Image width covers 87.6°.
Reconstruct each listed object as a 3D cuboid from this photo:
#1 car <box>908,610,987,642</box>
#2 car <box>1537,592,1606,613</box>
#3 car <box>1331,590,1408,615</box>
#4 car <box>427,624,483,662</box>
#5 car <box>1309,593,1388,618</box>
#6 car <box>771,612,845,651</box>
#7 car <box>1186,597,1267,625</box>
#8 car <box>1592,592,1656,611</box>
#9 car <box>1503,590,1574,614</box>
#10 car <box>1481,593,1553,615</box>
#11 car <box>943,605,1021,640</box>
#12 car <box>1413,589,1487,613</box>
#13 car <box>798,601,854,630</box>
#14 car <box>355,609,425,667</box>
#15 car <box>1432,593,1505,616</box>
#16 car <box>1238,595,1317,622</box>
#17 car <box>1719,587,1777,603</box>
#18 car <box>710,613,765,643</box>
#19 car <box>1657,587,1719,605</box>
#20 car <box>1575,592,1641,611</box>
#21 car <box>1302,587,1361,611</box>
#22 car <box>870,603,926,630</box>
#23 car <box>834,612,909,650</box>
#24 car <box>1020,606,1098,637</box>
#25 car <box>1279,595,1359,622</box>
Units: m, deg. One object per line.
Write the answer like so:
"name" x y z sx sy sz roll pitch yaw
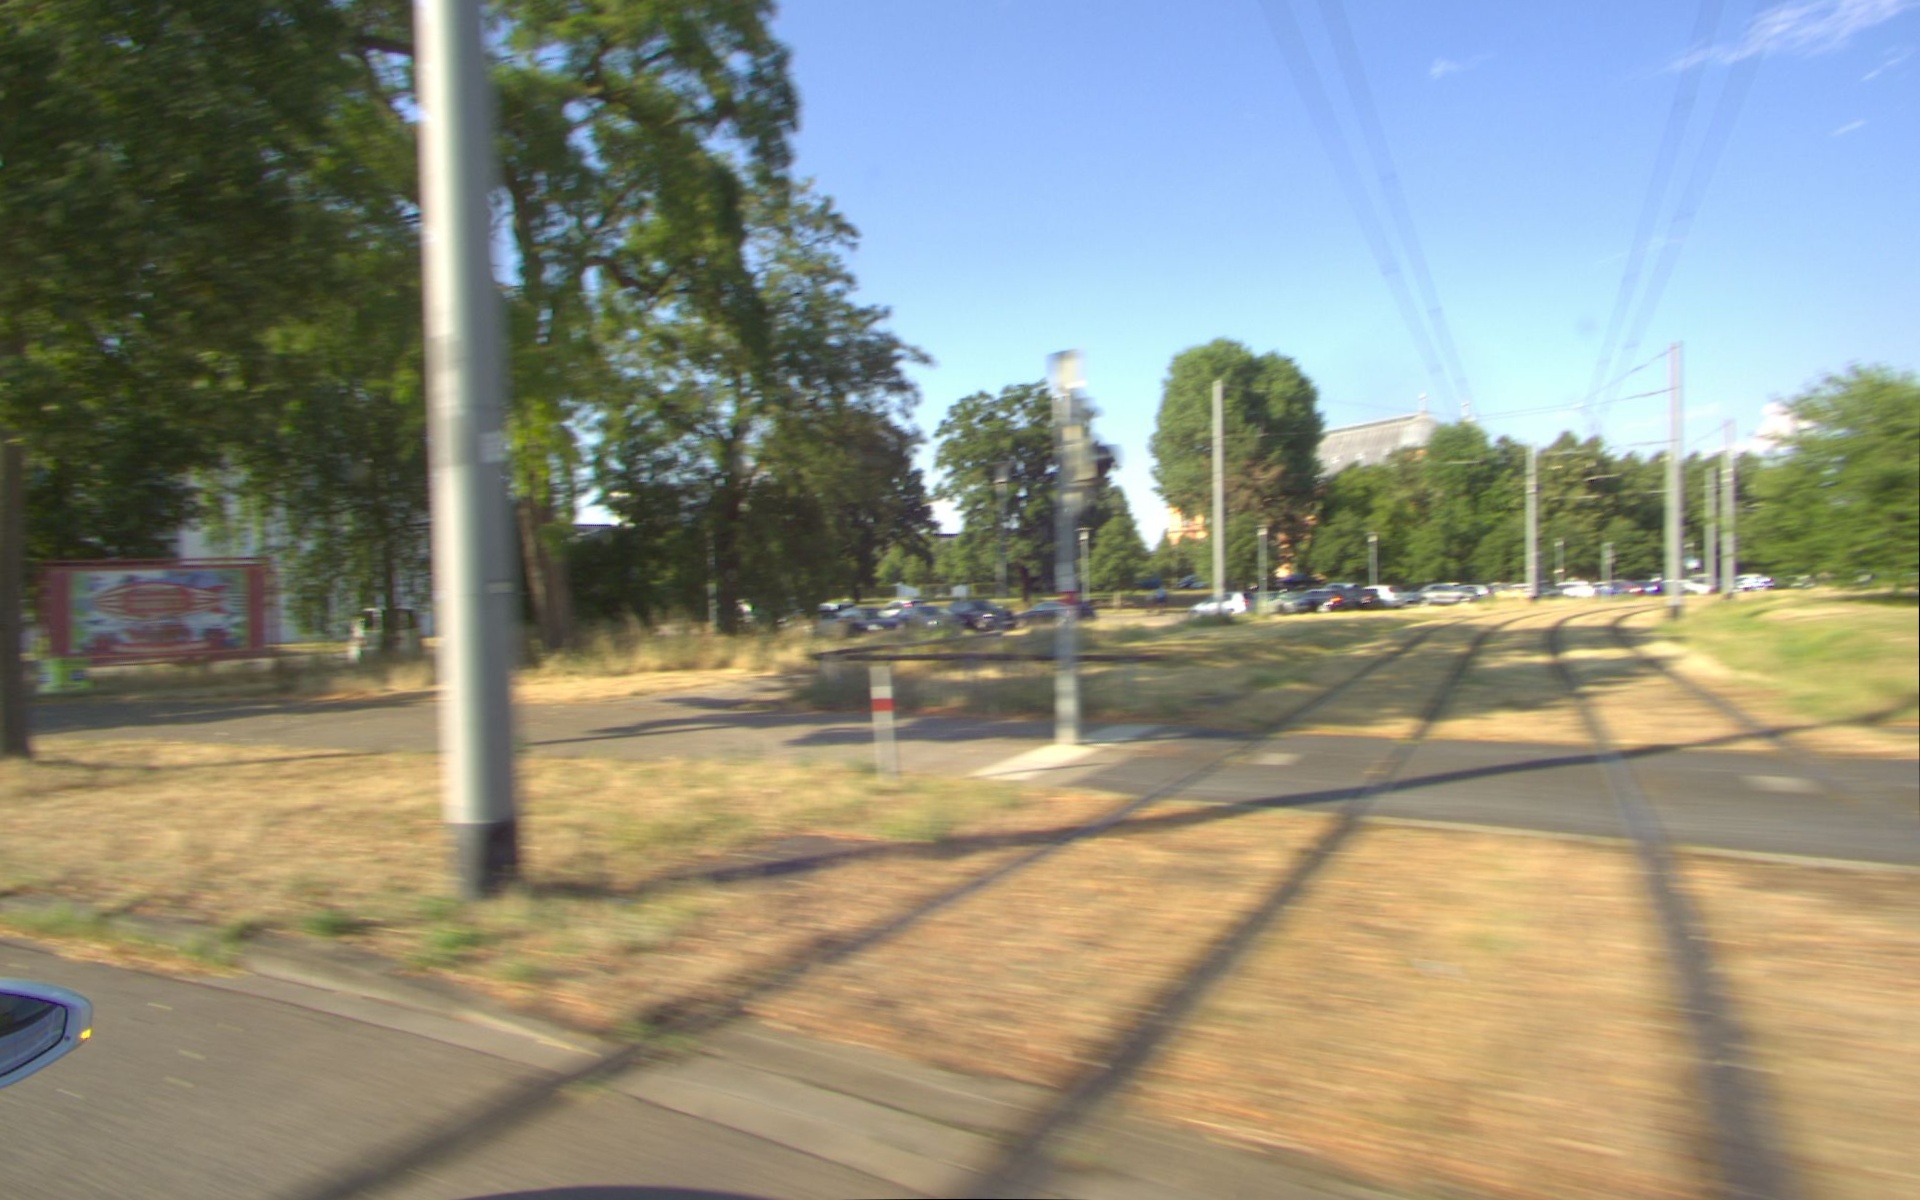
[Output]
"car" -0.579 1.078 41.595 1.583 1.237 3.949 -1 0 -29
"car" 45.204 0.217 74.104 1.803 1.421 3.975 -1 0 -34
"car" 24.778 0.157 60.720 1.803 1.421 3.975 -1 0 -34
"car" -17.752 1.469 35.128 1.583 1.196 3.949 -1 0 -29
"car" 22.794 0.338 58.860 1.803 1.421 3.975 -1 0 -34
"car" -6.091 1.234 39.788 1.583 1.420 3.949 -1 0 -29
"car" 14.206 0.619 53.499 1.803 1.421 3.975 -1 0 -34
"car" 53.593 0.161 80.871 1.803 1.421 3.975 -1 0 -34
"car" 41.041 0.156 71.093 1.803 1.589 3.975 -1 0 -34
"car" 38.625 0.290 69.498 1.803 1.421 3.975 -1 0 -34
"car" 0.918 0.997 43.756 1.583 1.420 3.949 -1 0 -29
"car" 31.937 0.092 65.332 1.803 1.421 3.975 -1 0 -34
"car" -7.109 0.820 52.851 1.583 1.420 3.949 -1 0 -29
"car" -17.664 1.130 31.102 1.751 1.639 3.949 -1 0 -29
"car" 33.858 0.294 66.797 1.803 1.421 3.975 -1 0 -34
"car" 17.796 0.477 56.308 1.803 1.421 3.975 -1 0 -34
"car" 73.945 -0.472 93.997 1.803 1.421 3.975 -1 0 -34
"car" -11.196 1.392 50.202 1.583 1.420 3.949 -1 0 -29
"car" 62.836 -0.359 86.467 1.803 1.421 3.975 -1 0 -34
"car" 51.043 0.118 78.966 1.803 1.421 3.975 -1 0 -34
"car" 28.706 -0.051 77.515 1.803 1.694 3.975 -1 0 -34
"car" -3.545 0.932 56.489 1.583 1.420 3.949 -1 0 -29
"car" -3.703 1.255 41.191 1.583 1.420 3.949 -1 0 -29
"car" 4.535 0.988 46.414 1.583 1.327 3.949 -1 0 -29
"car" 20.536 0.511 57.404 1.803 1.421 3.975 -1 0 -34
